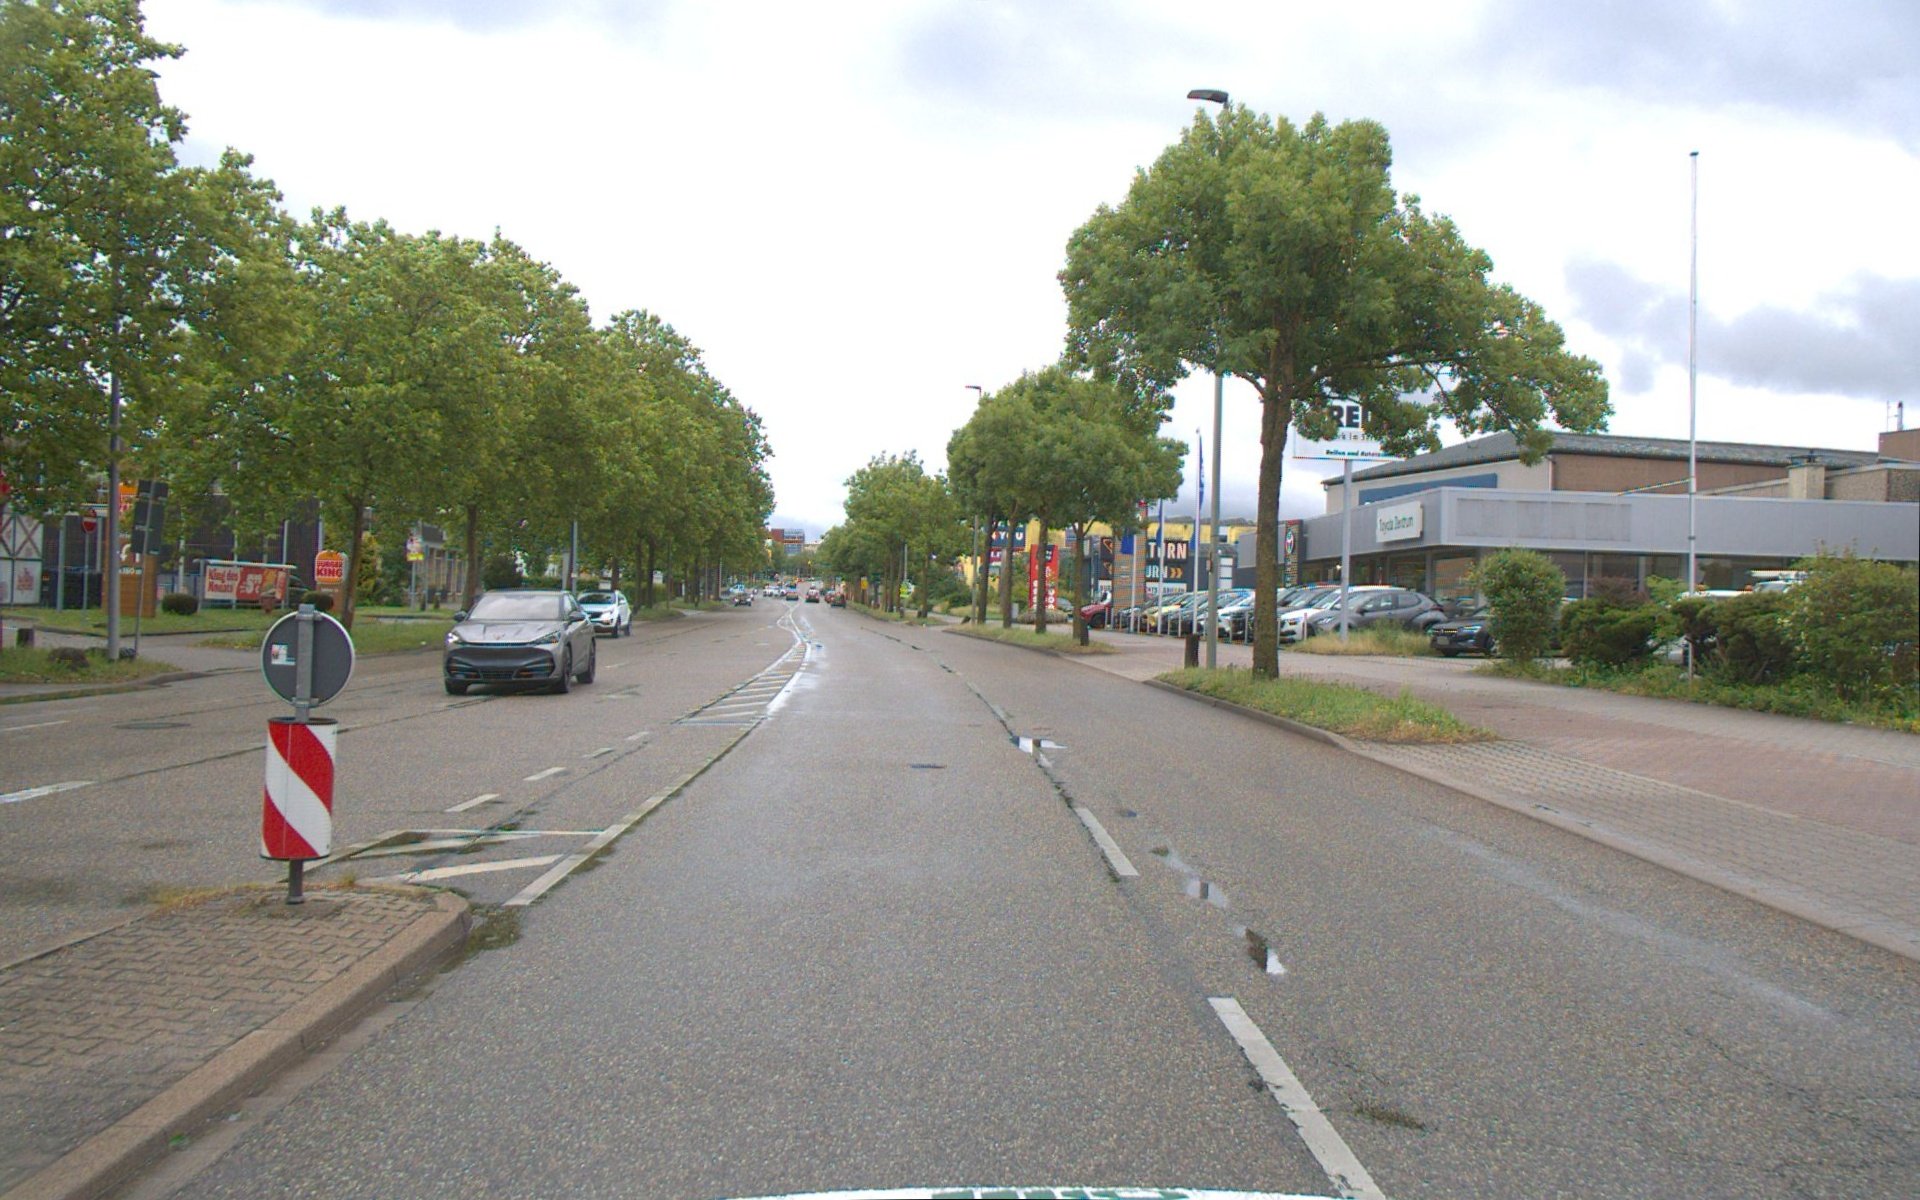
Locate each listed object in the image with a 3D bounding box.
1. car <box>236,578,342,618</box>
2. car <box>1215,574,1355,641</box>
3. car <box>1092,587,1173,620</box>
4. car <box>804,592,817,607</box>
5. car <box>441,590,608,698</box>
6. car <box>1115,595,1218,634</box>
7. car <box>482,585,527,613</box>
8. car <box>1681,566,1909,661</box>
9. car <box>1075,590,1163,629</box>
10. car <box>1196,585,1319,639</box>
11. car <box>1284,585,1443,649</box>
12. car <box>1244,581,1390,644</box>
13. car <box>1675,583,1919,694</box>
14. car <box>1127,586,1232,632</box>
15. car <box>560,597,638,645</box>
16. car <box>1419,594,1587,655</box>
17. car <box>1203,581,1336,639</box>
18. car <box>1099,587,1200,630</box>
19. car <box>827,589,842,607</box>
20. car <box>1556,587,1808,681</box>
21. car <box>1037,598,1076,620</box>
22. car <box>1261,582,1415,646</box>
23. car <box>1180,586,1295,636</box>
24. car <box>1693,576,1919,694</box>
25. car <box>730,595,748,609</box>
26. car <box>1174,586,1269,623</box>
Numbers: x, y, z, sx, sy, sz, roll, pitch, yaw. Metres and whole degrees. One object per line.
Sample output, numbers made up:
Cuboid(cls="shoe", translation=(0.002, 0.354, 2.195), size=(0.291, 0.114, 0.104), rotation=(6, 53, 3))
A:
Cuboid(cls="car", translation=(-23.293, -0.070, 57.450), size=(3.109, 1.175, 1.291), rotation=(4, 0, 3))
Cuboid(cls="car", translation=(10.194, 0.225, 52.007), size=(3.908, 1.817, 1.811), rotation=(-4, 0, -3))
Cuboid(cls="car", translation=(10.955, 0.230, 104.879), size=(4.741, 2.049, 1.982), rotation=(1, -1, -15))
Cuboid(cls="car", translation=(-21.957, -0.068, 242.692), size=(1.710, 2.049, 3.997), rotation=(0, 0, -4))
Cuboid(cls="car", translation=(-6.954, 0.674, 26.863), size=(1.776, 1.589, 4.594), rotation=(1, 0, -4))
Cuboid(cls="car", translation=(8.446, 0.586, 67.694), size=(3.909, 1.565, 1.798), rotation=(0, 0, -5))
Cuboid(cls="car", translation=(-25.334, -0.049, 92.133), size=(1.788, 1.512, 3.934), rotation=(1, 0, -7))
Cuboid(cls="car", translation=(20.054, 0.317, 39.818), size=(4.562, 2.187, 1.963), rotation=(1, 0, -5))
Cuboid(cls="car", translation=(7.271, 0.438, 75.833), size=(3.766, 1.631, 1.793), rotation=(-2, 0, -5))
Cuboid(cls="car", translation=(10.317, 0.419, 57.568), size=(3.907, 1.818, 1.811), rotation=(0, 0, -3))
Cuboid(cls="car", translation=(10.954, 0.448, 45.063), size=(3.759, 1.486, 1.826), rotation=(-3, 0, -6))
Cuboid(cls="car", translation=(10.747, 0.371, 49.985), size=(3.908, 1.612, 1.811), rotation=(-3, 0, -3))
Cuboid(cls="car", translation=(14.023, 0.586, 27.160), size=(4.056, 1.691, 1.822), rotation=(0, 2, 19))
Cuboid(cls="car", translation=(8.684, 0.355, 65.492), size=(3.767, 1.593, 1.664), rotation=(-3, 0, -8))
Cuboid(cls="car", translation=(-12.788, 0.739, 58.844), size=(1.889, 1.648, 4.397), rotation=(1, 0, -2))
Cuboid(cls="car", translation=(13.516, 0.597, 41.300), size=(3.604, 1.489, 1.793), rotation=(0, 0, -2))
Cuboid(cls="car", translation=(10.236, 0.312, 54.836), size=(3.911, 1.615, 1.810), rotation=(-4, 1, -7))
Cuboid(cls="car", translation=(7.931, 0.337, 69.544), size=(3.909, 1.676, 1.843), rotation=(-1, 0, -5))
Cuboid(cls="car", translation=(-14.391, -0.202, 190.106), size=(1.710, 2.049, 3.997), rotation=(1, 0, -4))
Cuboid(cls="car", translation=(13.031, 0.585, 30.102), size=(3.969, 1.625, 1.986), rotation=(0, 0, 16))
Cuboid(cls="car", translation=(6.761, 0.624, 116.348), size=(1.551, 1.453, 4.249), rotation=(1, 1, -15))
Cuboid(cls="car", translation=(10.852, 0.388, 47.608), size=(3.908, 1.570, 1.811), rotation=(-4, 0, -3))
Cuboid(cls="car", translation=(10.227, 0.405, 61.109), size=(3.907, 1.818, 1.811), rotation=(0, 0, -3))
Cuboid(cls="car", translation=(13.513, 0.497, 25.166), size=(4.054, 1.691, 1.823), rotation=(0, 2, 15))
Cuboid(cls="car", translation=(-23.551, 0.186, 176.459), size=(1.769, 1.488, 3.842), rotation=(0, 0, -5))
Cuboid(cls="car", translation=(12.028, 0.202, 76.222), size=(4.025, 1.650, 1.880), rotation=(-1, 0, -1))
